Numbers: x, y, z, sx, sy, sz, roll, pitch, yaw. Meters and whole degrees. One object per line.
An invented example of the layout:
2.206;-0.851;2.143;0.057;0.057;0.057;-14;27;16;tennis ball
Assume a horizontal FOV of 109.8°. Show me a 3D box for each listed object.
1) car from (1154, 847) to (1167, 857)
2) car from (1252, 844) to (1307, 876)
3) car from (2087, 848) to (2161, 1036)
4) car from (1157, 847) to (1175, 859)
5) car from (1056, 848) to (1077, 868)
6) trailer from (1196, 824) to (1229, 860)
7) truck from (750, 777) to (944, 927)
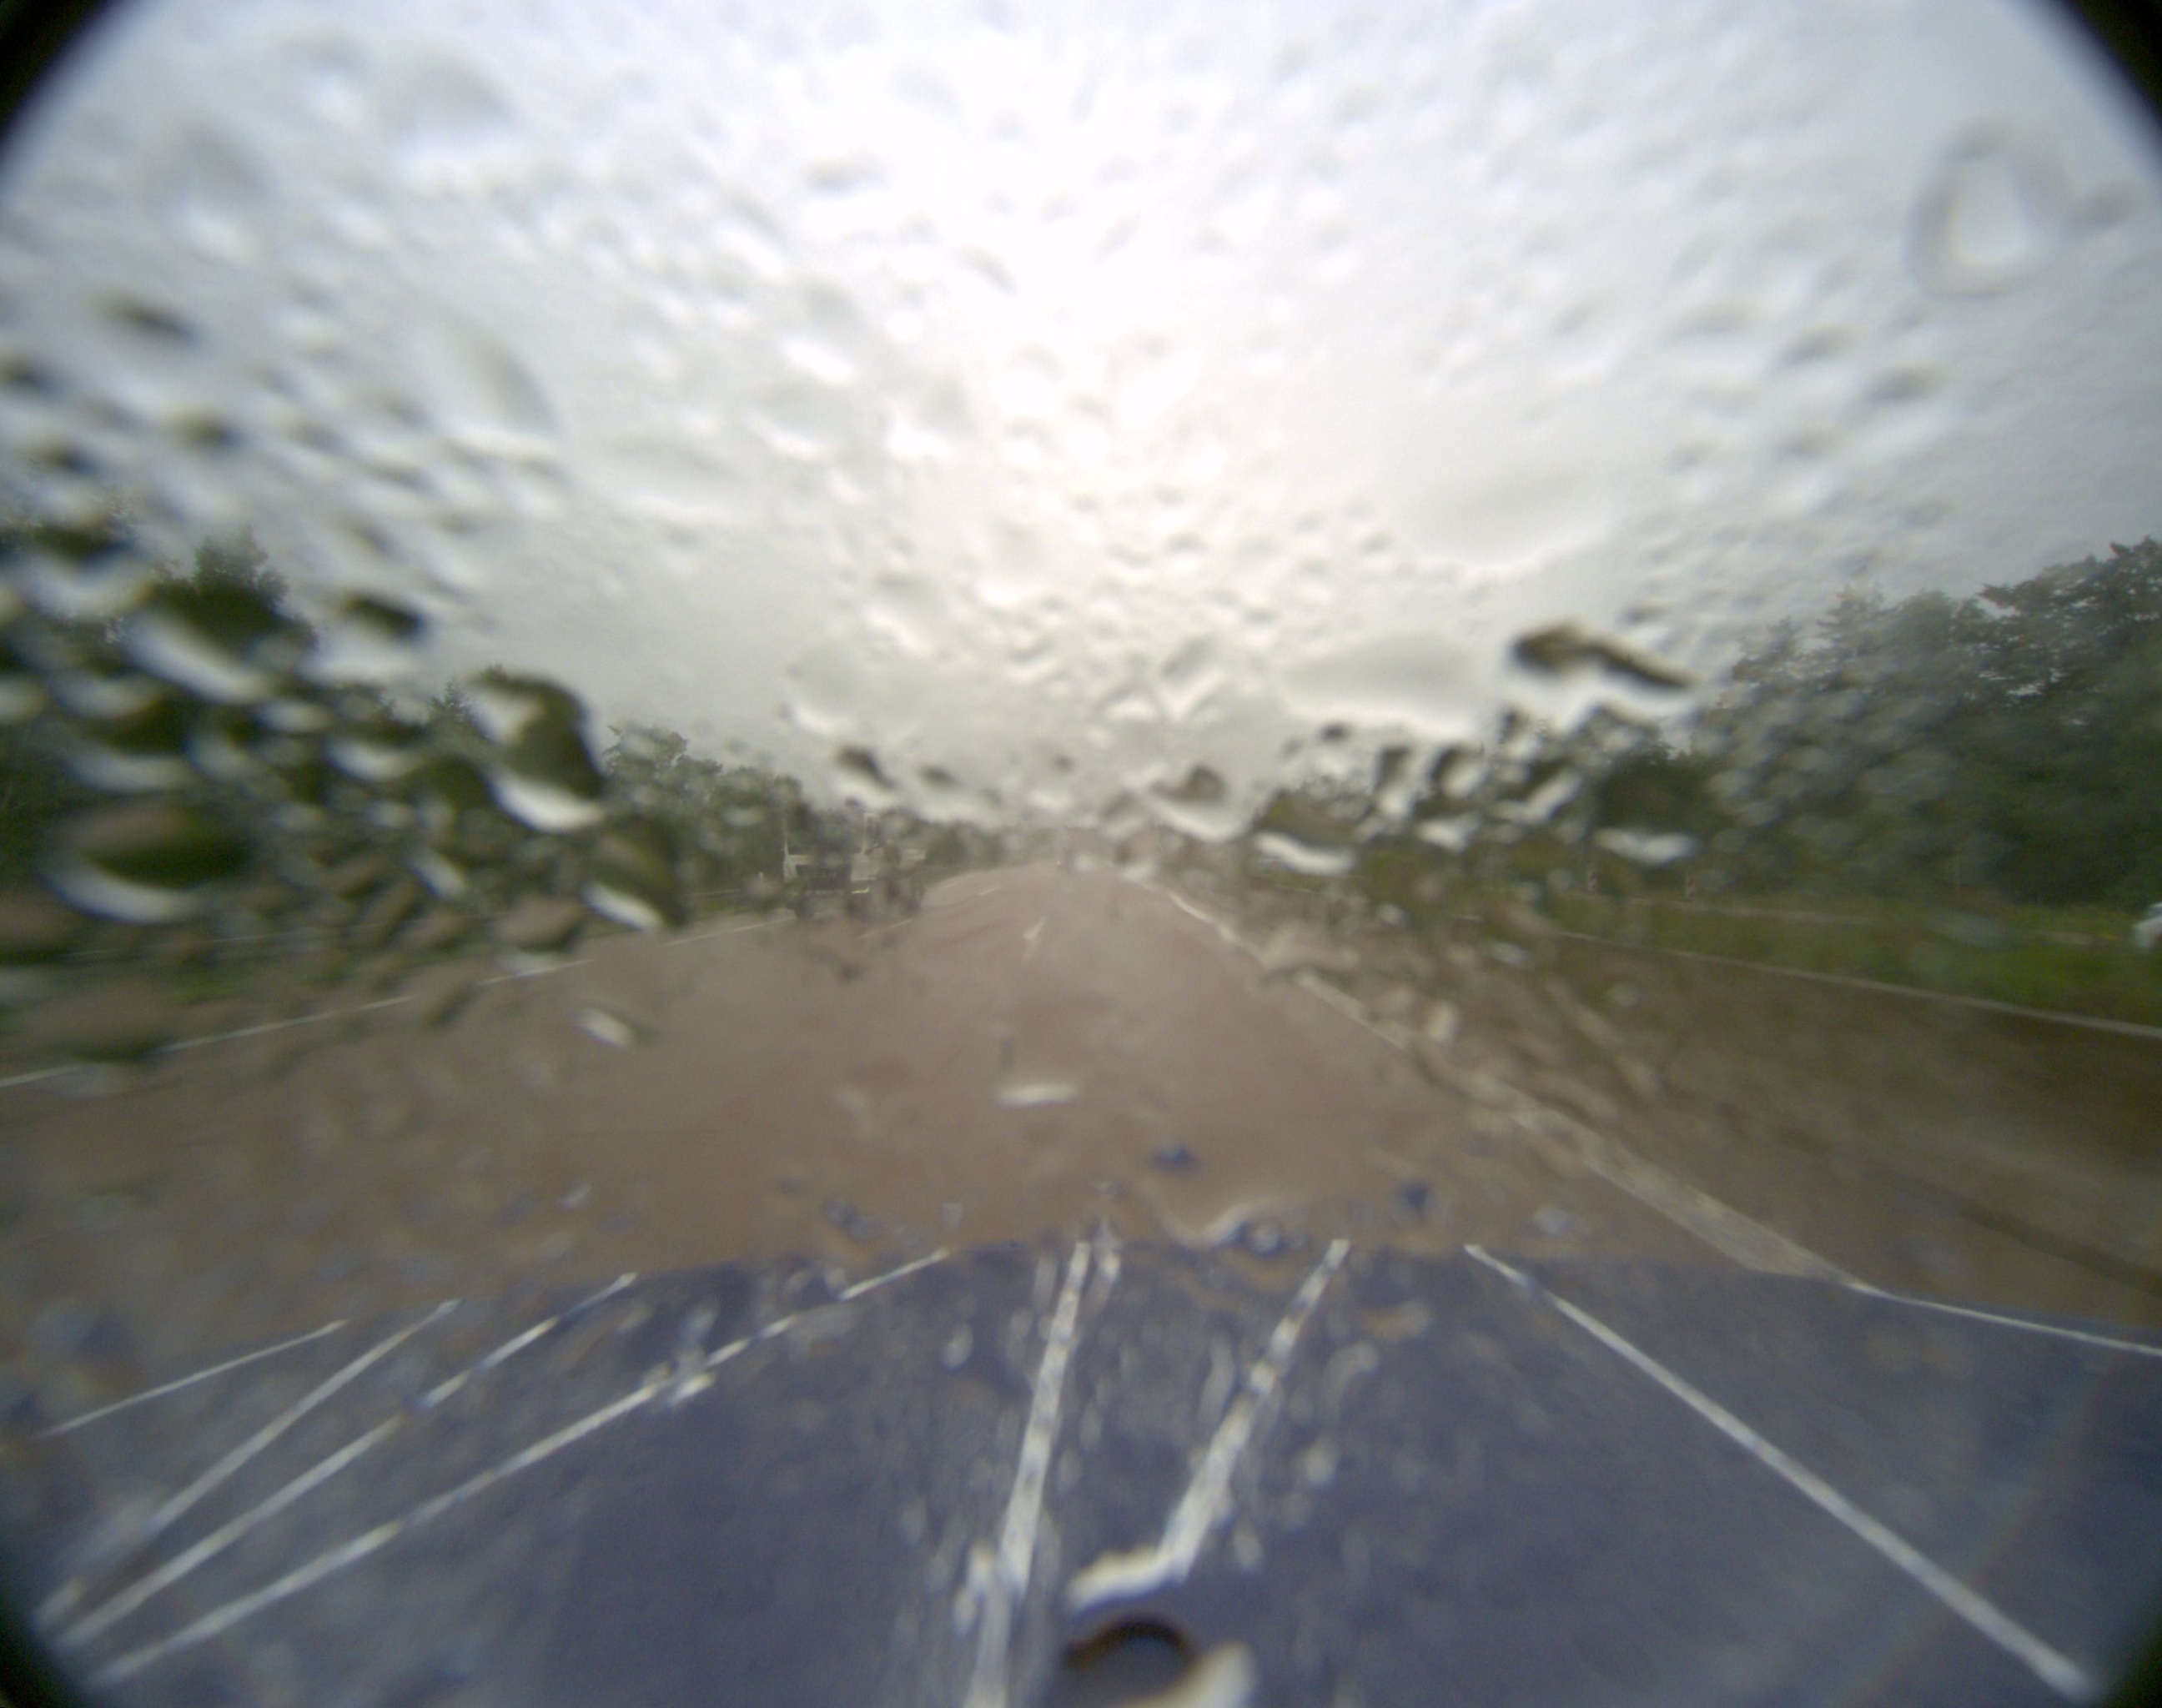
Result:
17.267;-0.403;165.287;2.312;1.966;5.755;-2;0;0;car
13.671;0.393;52.677;2.312;2.002;5.662;-2;0;0;car
12.682;0.940;6.387;2.094;2.002;4.798;-2;0;0;car
14.388;-0.151;128.920;2.312;2.002;5.151;-2;0;0;car
-1.476;0.395;79.362;1.998;2.002;4.276;-3;1;0;car
19.285;-1.723;111.964;3.762;4.924;13.686;-2;0;6;trailer
-6.686;-0.064;23.362;3.242;3.708;7.954;-2;0;1;truck
